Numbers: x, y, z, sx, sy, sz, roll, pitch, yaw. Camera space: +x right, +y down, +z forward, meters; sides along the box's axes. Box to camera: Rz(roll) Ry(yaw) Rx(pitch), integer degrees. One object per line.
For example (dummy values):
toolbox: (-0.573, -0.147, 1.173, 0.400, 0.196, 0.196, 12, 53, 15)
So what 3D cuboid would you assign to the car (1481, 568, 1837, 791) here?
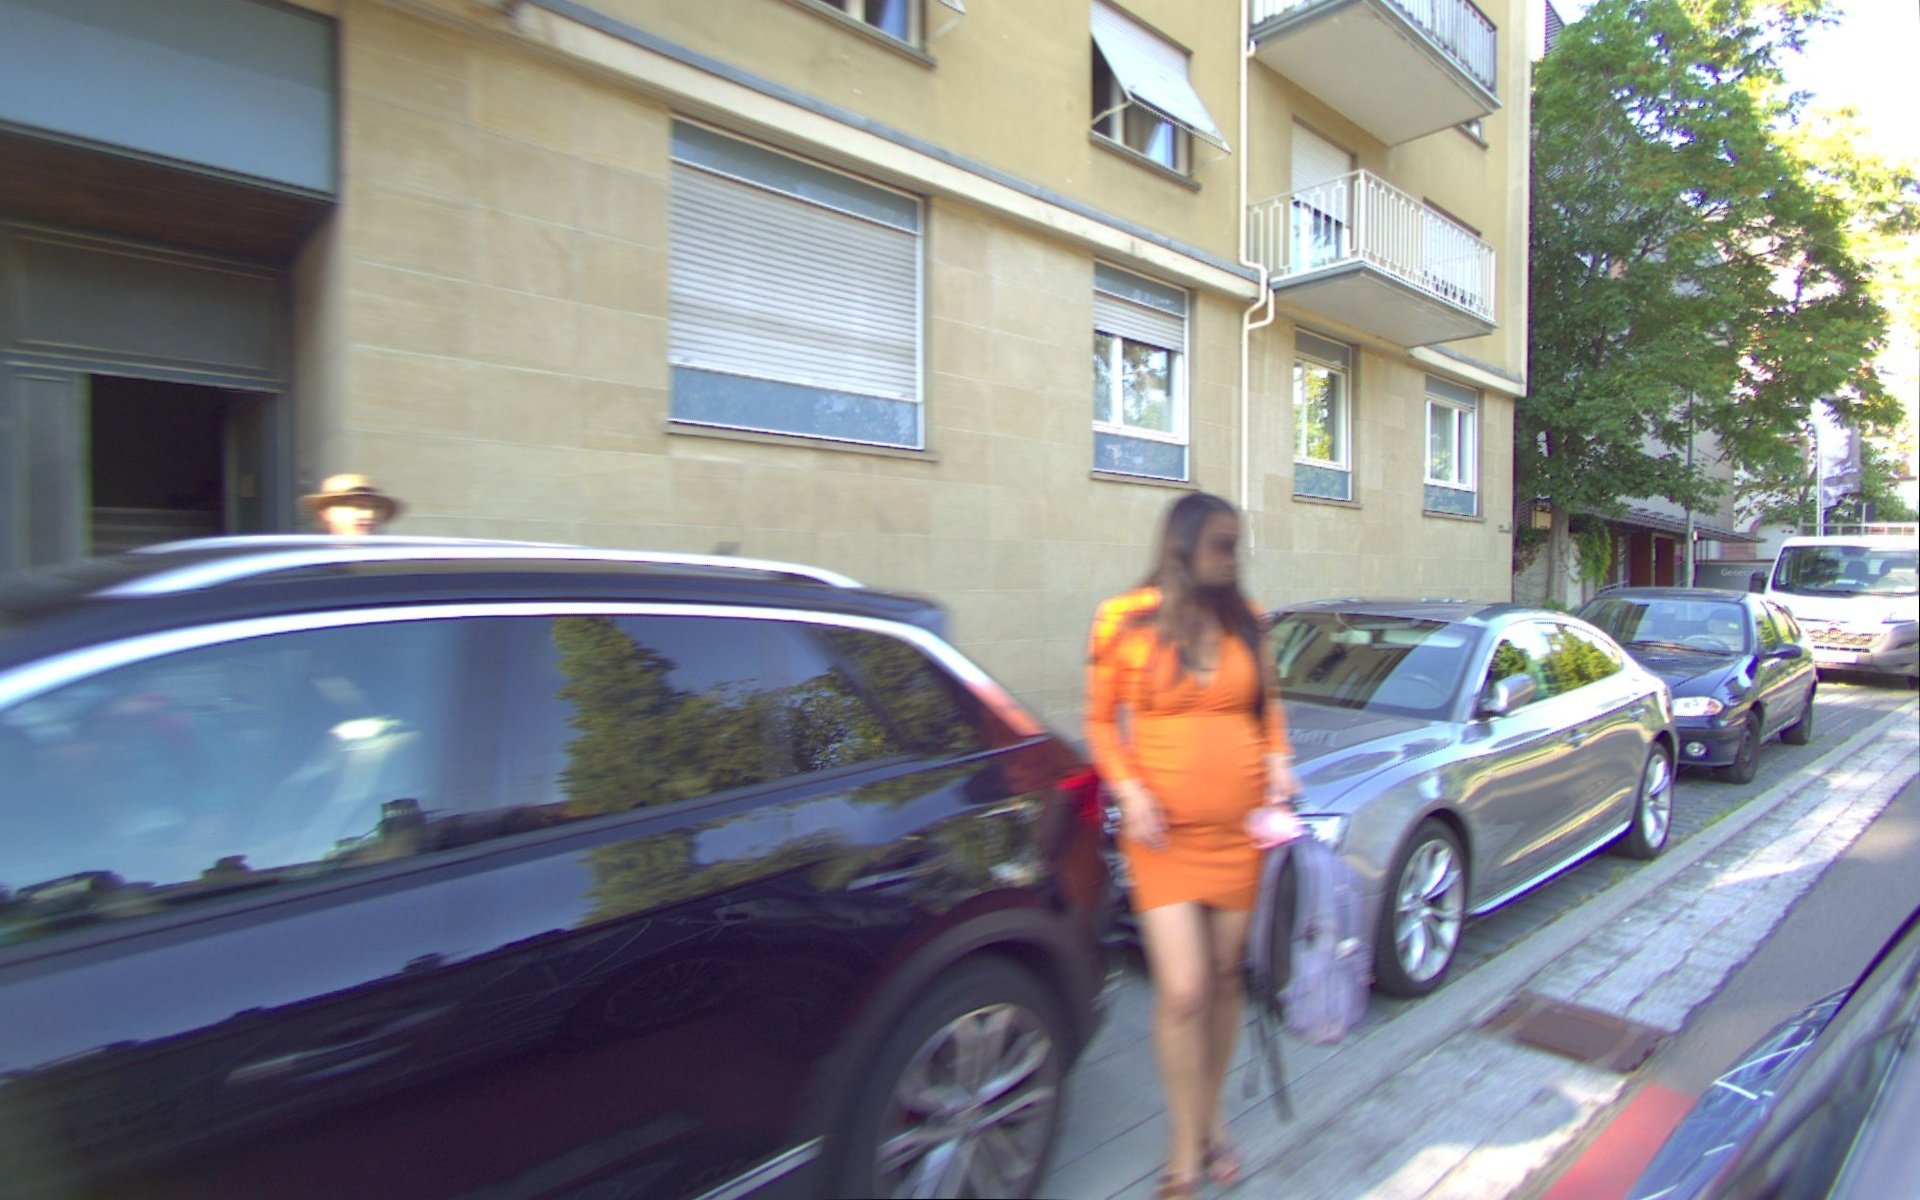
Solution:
car: (6.223, 0.478, 8.837, 3.969, 1.437, 1.706, -2, 4, -43)

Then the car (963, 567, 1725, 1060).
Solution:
car: (2.196, 0.590, 5.112, 4.272, 1.437, 1.707, -2, 4, -40)

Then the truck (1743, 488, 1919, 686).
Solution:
truck: (14.661, -0.280, 16.093, 6.756, 2.596, 2.133, -2, 2, -40)

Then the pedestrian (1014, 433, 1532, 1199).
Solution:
pedestrian: (0.701, 0.574, 2.494, 0.762, 1.791, 0.957, -1, 0, -25)

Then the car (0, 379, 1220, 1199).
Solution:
car: (-1.481, 0.539, 1.861, 4.275, 1.645, 1.706, 0, 3, -43)

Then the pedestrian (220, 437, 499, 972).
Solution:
pedestrian: (-2.260, 0.361, 3.853, 0.720, 1.853, 0.554, -1, 0, 12)
